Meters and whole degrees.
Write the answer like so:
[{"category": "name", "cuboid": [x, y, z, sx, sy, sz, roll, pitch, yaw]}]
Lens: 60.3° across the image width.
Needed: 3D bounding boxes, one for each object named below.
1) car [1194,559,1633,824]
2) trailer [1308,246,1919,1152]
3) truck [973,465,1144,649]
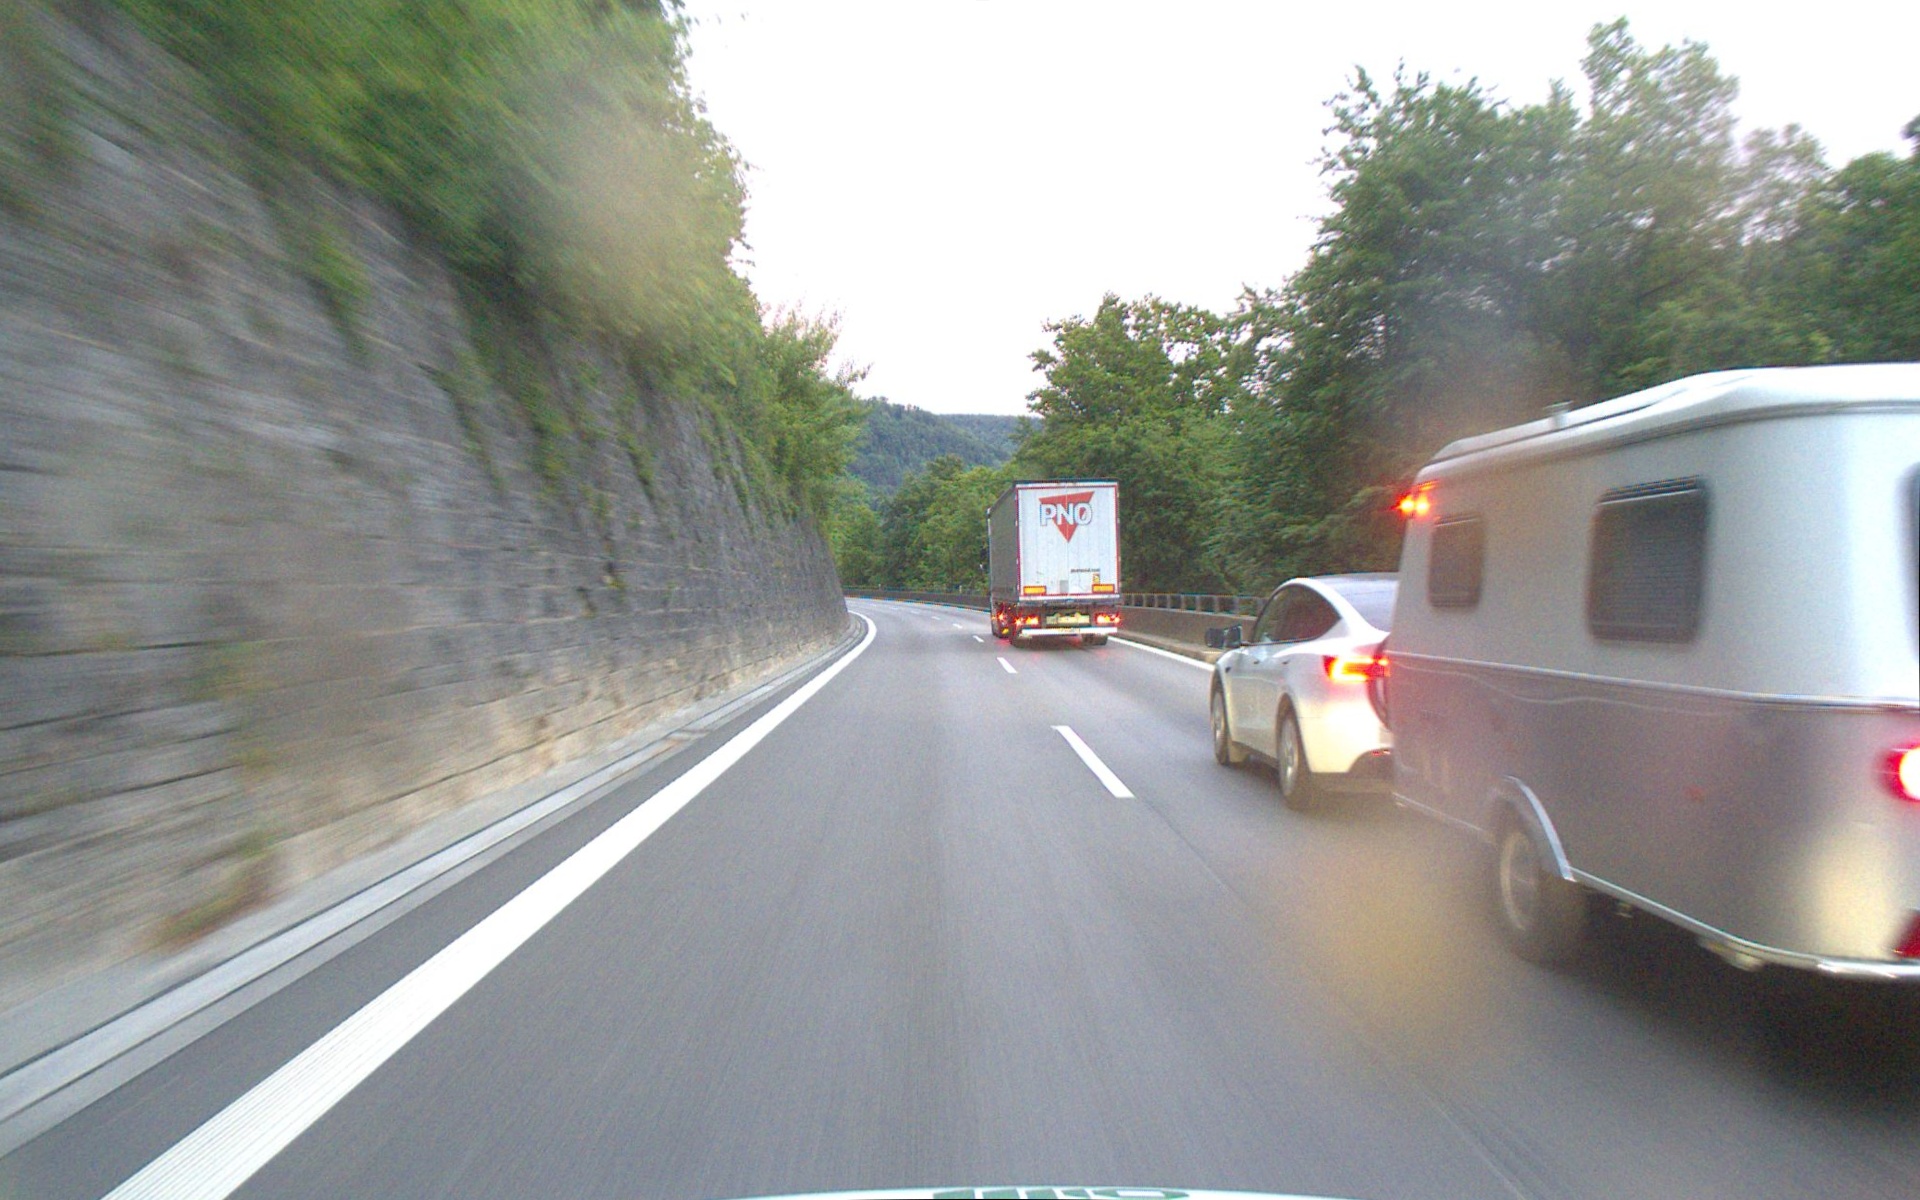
[{"category": "car", "cuboid": [3.164, 0.559, 12.697, 1.953, 1.643, 4.863, 0, 0, -1]}, {"category": "trailer", "cuboid": [3.225, 0.235, 7.402, 2.013, 2.416, 5.937, 0, 0, -1]}, {"category": "truck", "cuboid": [2.367, -1.042, 46.905, 3.228, 4.246, 16.496, -1, 0, -2]}]
